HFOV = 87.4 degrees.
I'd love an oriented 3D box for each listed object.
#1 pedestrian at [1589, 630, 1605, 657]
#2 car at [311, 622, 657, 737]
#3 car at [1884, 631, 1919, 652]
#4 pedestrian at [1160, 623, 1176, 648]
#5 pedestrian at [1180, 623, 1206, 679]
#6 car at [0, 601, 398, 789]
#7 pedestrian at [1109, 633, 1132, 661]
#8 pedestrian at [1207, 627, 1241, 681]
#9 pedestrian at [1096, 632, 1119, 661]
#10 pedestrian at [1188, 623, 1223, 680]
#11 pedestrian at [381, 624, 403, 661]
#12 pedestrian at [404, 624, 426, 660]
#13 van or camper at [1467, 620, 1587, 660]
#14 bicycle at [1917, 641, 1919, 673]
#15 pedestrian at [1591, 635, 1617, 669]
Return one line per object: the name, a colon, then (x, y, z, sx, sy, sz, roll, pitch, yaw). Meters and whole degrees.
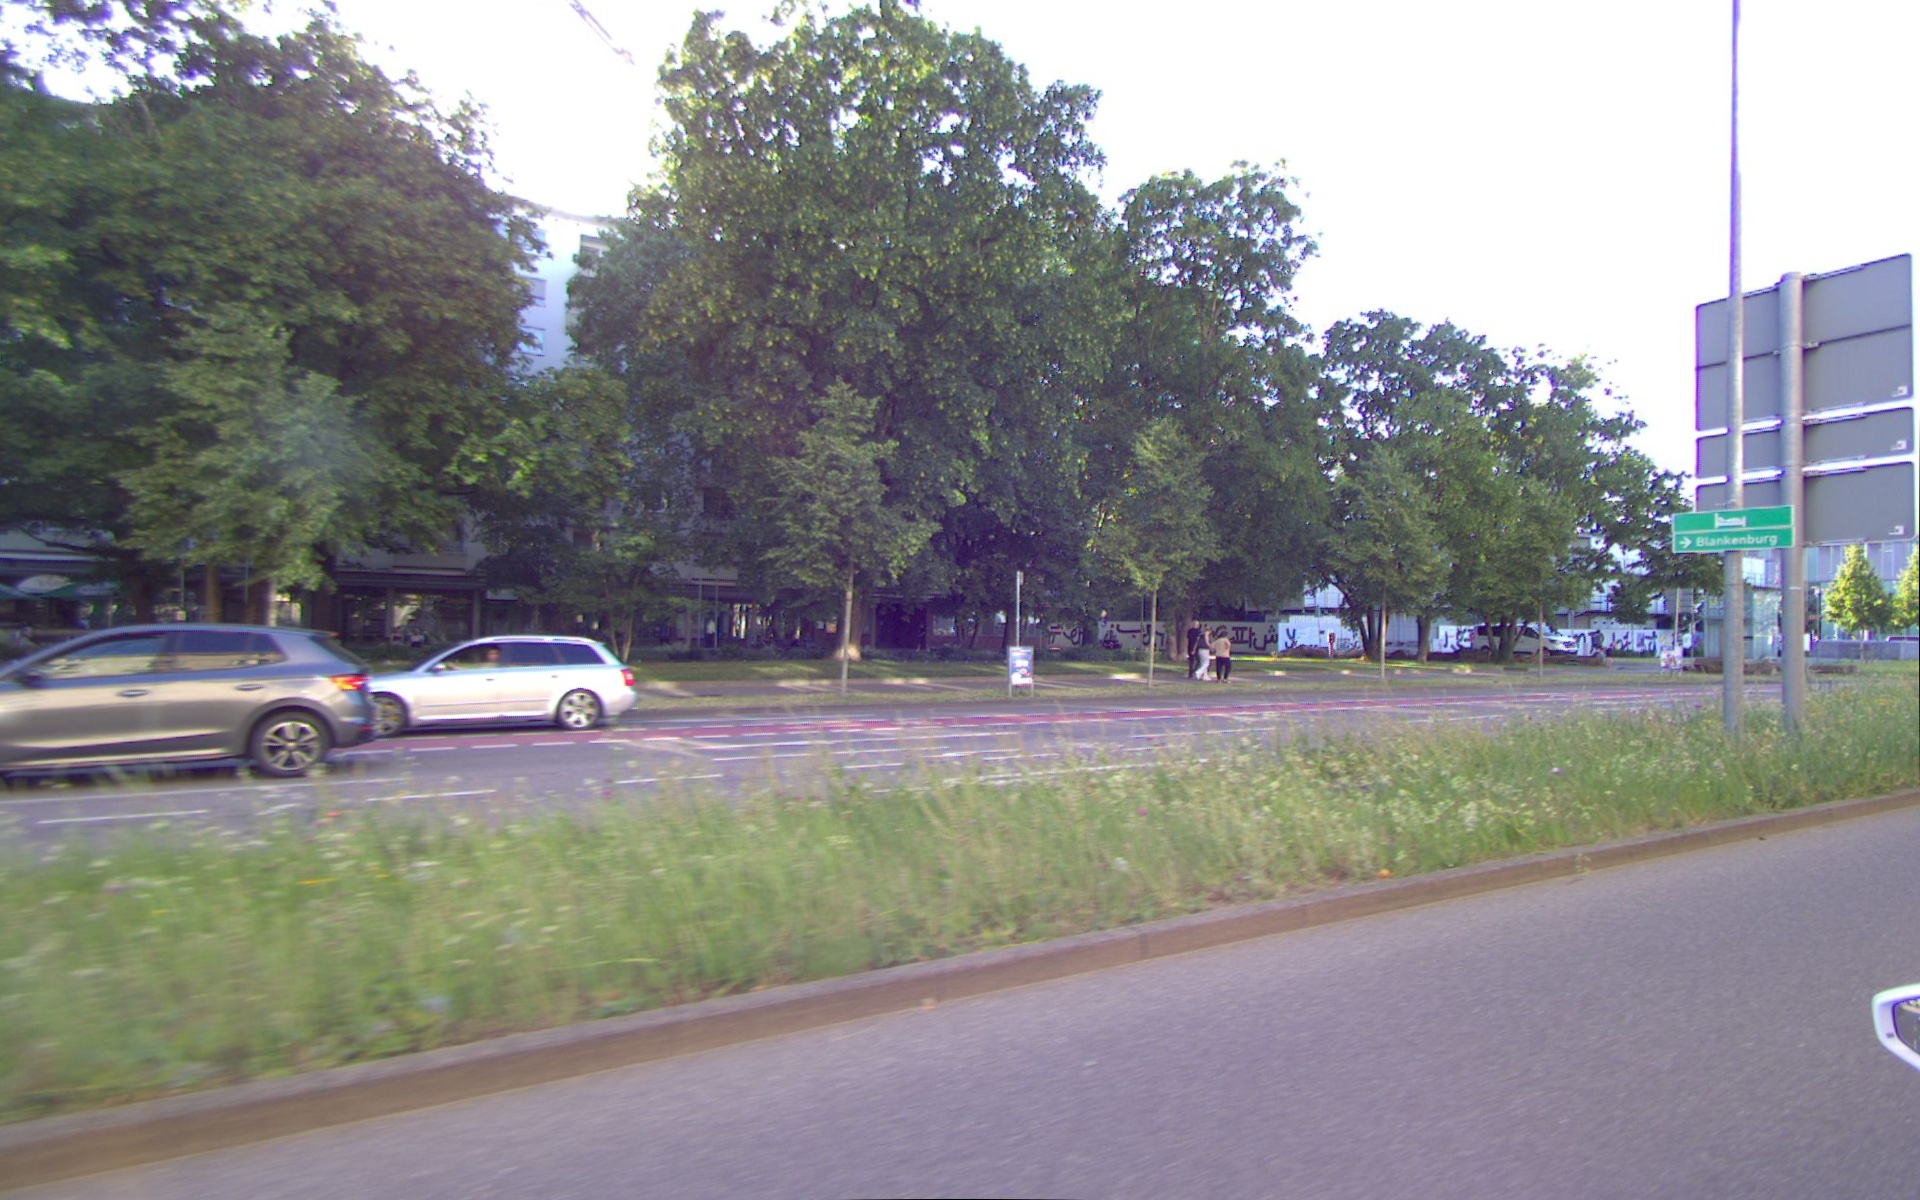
pedestrian: (40.739, 2.751, 64.268, 0.826, 1.711, 0.576, 1, -1, -32)
car: (-7.179, 1.173, 15.446, 4.532, 1.546, 1.925, 2, -3, -29)
car: (84.689, 3.654, 88.470, 1.855, 1.833, 4.607, 4, -4, -36)
pedestrian: (13.946, 2.383, 67.429, 0.734, 1.662, 0.722, 1, -1, -24)
pedestrian: (7.541, 1.646, 32.543, 0.646, 1.763, 0.522, 1, -1, -26)
car: (-7.808, 0.851, 9.795, 4.012, 1.585, 1.984, 2, -2, -30)
pedestrian: (8.996, 2.632, 56.315, 0.886, 1.560, 0.895, 2, -2, -37)
pedestrian: (8.205, 1.662, 31.242, 0.716, 1.662, 0.740, 1, -1, -26)
pedestrian: (8.204, 2.574, 55.770, 0.886, 1.560, 0.895, 2, -2, -37)
pedestrian: (7.814, 1.632, 31.967, 0.751, 1.763, 0.769, 1, -1, -26)
pedestrian: (-21.558, 1.602, 38.132, 0.656, 1.357, 0.902, 1, -1, -27)
pedestrian: (-20.904, 1.605, 38.535, 0.707, 1.357, 0.823, 1, -1, -27)
van or camper: (31.888, 2.258, 56.674, 2.230, 2.040, 5.641, 4, -3, -28)
bicycle: (39.928, 2.355, 40.919, 2.232, 1.291, 0.754, 4, -3, -30)
pedestrian: (29.685, 2.390, 46.321, 0.929, 1.548, 0.611, 1, -1, -25)
